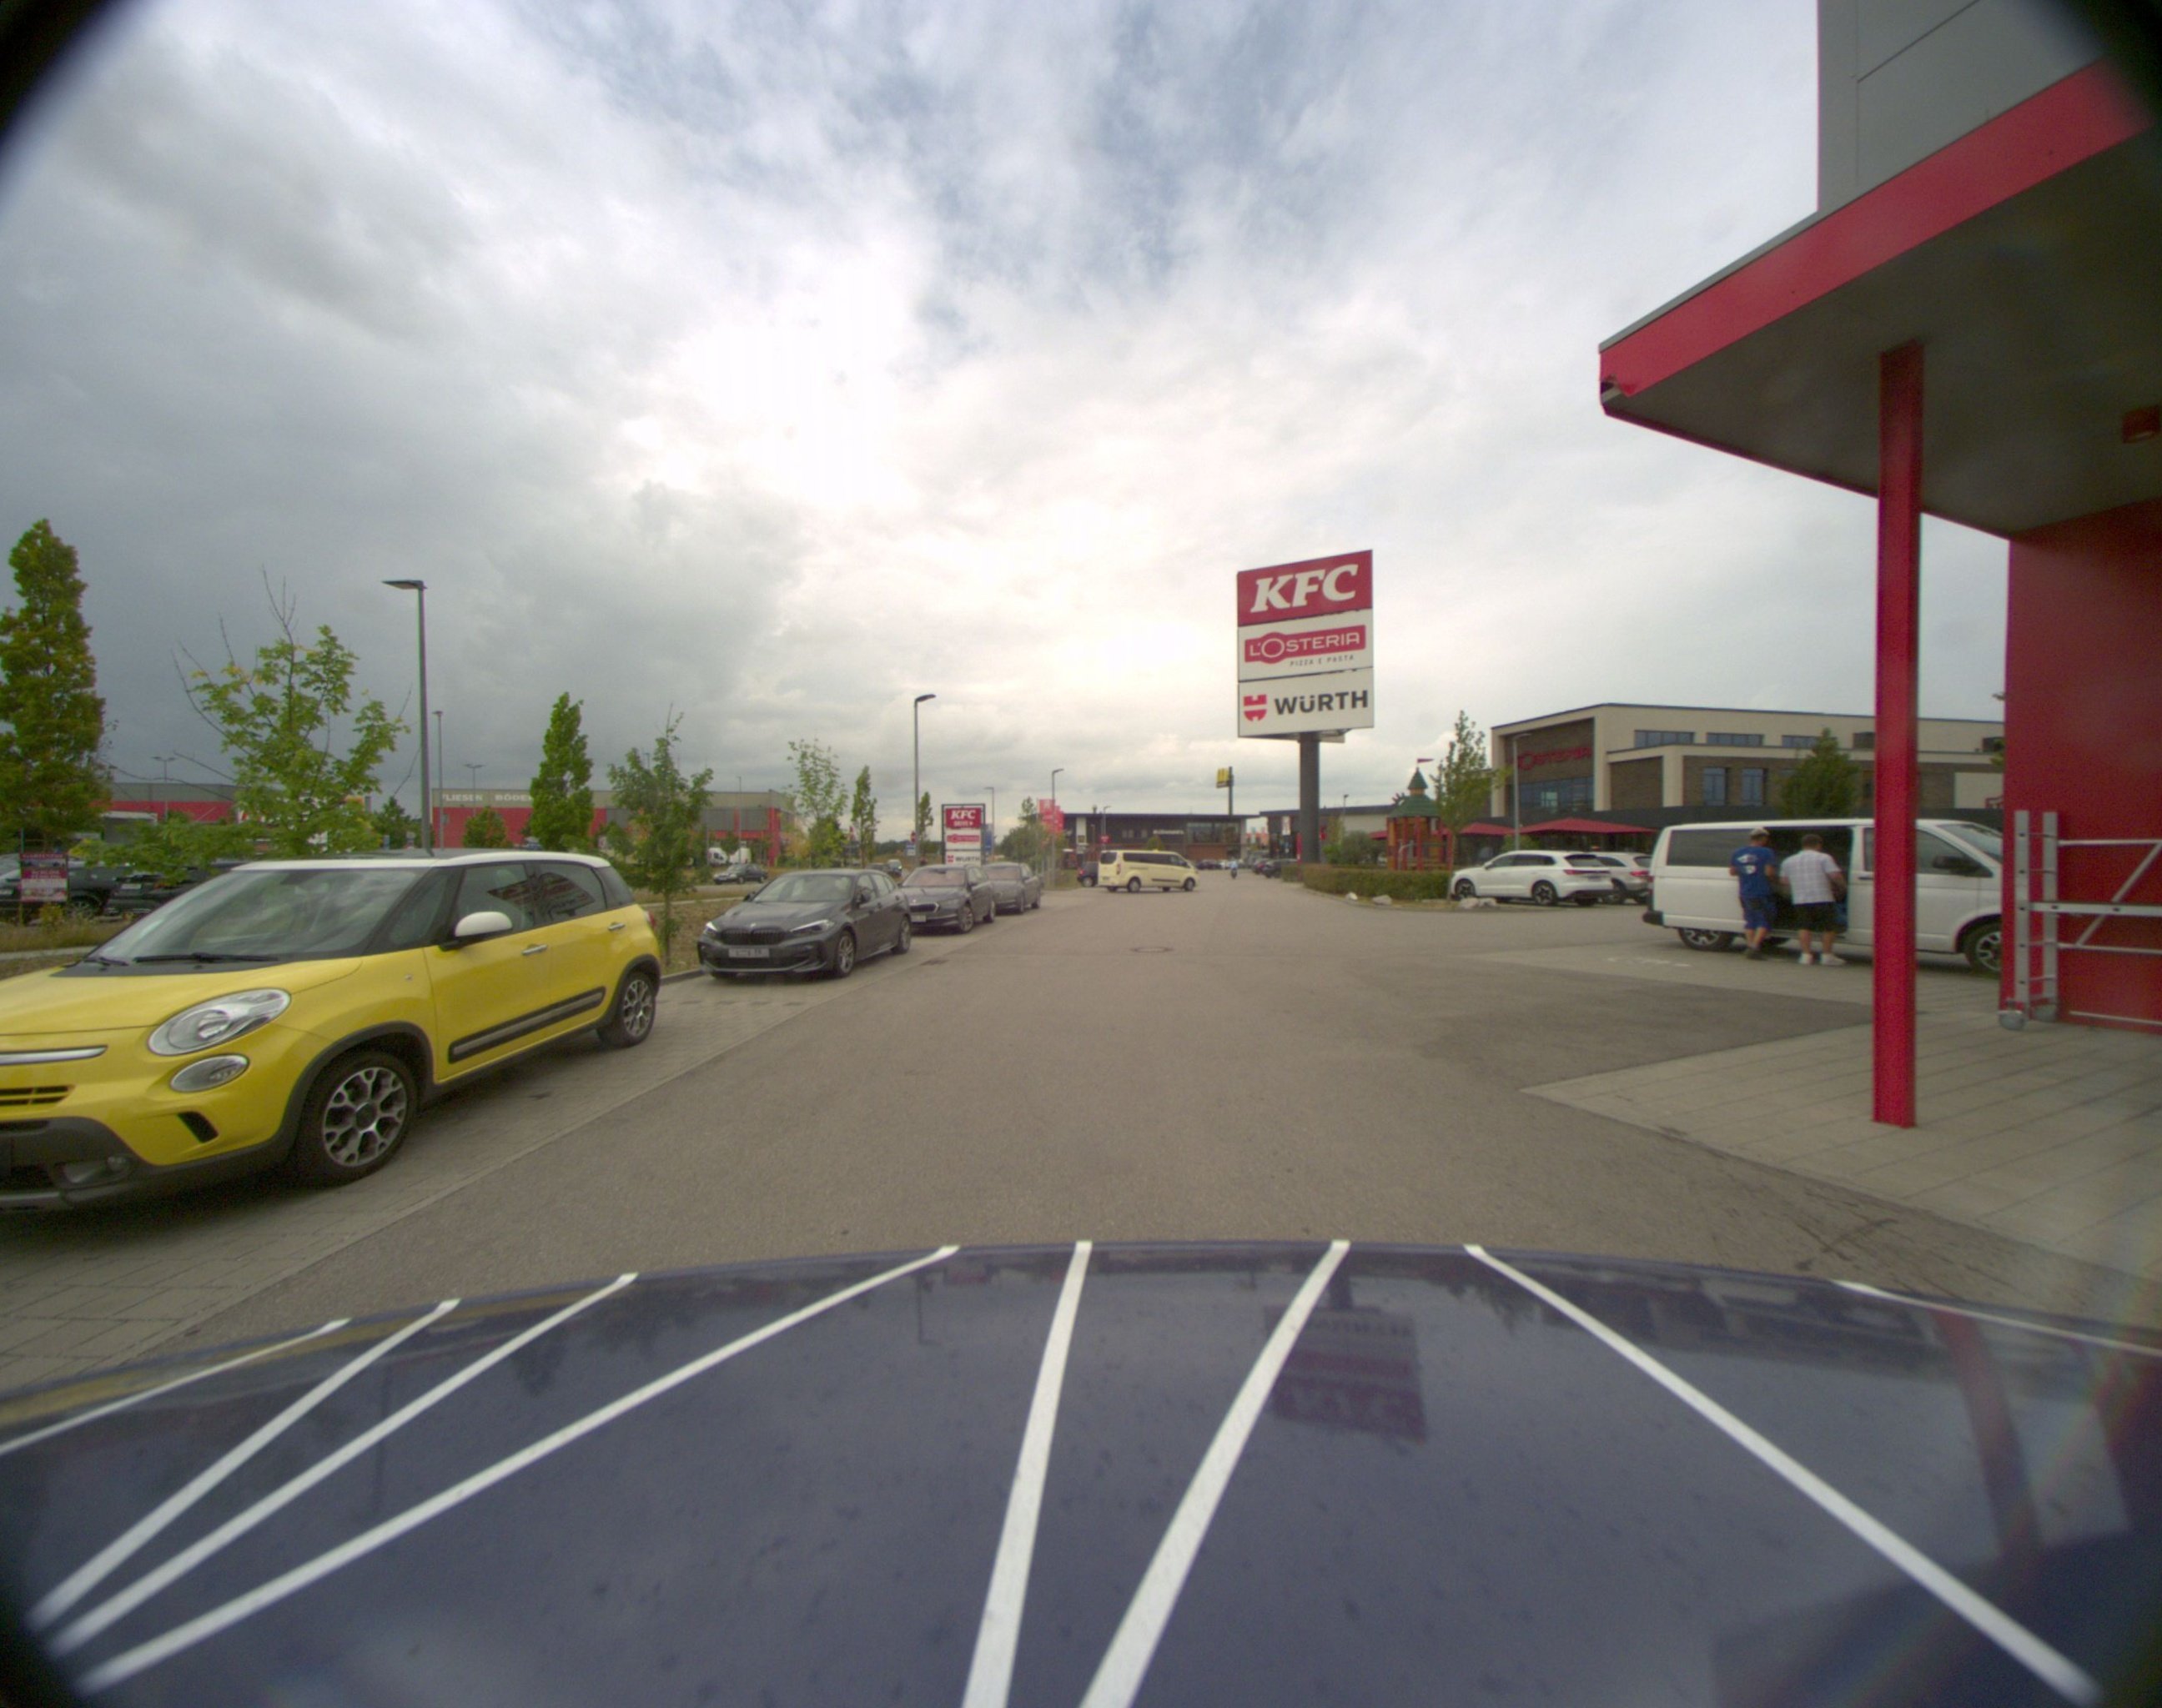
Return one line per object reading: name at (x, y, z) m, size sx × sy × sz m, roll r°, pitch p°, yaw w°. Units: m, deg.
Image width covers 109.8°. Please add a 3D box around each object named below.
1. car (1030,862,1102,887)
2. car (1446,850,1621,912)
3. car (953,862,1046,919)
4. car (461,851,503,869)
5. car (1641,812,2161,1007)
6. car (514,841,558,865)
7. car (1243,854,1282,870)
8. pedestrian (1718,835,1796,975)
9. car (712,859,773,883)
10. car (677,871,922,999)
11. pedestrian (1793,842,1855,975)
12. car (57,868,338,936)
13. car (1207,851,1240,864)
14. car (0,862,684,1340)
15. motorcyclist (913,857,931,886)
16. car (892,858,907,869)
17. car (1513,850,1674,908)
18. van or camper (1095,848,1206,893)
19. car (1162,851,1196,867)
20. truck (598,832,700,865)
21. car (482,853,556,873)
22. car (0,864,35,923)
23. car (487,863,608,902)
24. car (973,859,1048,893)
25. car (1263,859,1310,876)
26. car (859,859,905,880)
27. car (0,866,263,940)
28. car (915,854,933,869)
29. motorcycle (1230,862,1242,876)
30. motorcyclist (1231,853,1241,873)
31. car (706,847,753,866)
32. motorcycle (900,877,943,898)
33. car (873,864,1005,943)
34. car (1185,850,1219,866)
car at (-0.860, 1.219, 45.306) m, size 3.994 × 1.412 × 1.811 m, roll -1°, pitch 0°, yaw 8°
car at (14.079, 0.764, 24.027) m, size 1.760 × 1.738 × 4.734 m, roll -1°, pitch 0°, yaw -20°
car at (-2.331, 1.022, 23.013) m, size 1.750 × 1.482 × 4.490 m, roll -1°, pitch 0°, yaw 8°
car at (-57.443, 0.570, 72.920) m, size 1.764 × 1.644 × 3.831 m, roll 0°, pitch 1°, yaw -14°
car at (10.789, 0.567, 10.336) m, size 1.940 × 2.002 × 4.749 m, roll -1°, pitch 0°, yaw -24°
car at (-52.685, -0.145, 73.534) m, size 2.026 × 2.192 × 4.343 m, roll 0°, pitch 1°, yaw -14°
car at (21.655, 0.984, 90.801) m, size 3.999 × 1.827 × 1.999 m, roll -1°, pitch 0°, yaw -6°
pedestrian at (9.257, 0.675, 10.408) m, size 0.589 × 1.845 × 0.624 m, roll -1°, pitch 1°, yaw -28°
car at (-22.920, 1.148, 51.652) m, size 1.756 × 1.472 × 4.535 m, roll -1°, pitch 0°, yaw 5°
car at (-3.817, 1.019, 11.212) m, size 1.751 × 1.407 × 4.307 m, roll -1°, pitch 0°, yaw 4°
pedestrian at (9.713, 0.697, 9.933) m, size 0.586 × 1.692 × 0.360 m, roll -1°, pitch 1°, yaw -20°
car at (-20.682, 1.056, 18.082) m, size 1.757 × 1.346 × 4.003 m, roll 0°, pitch 0°, yaw 9°
car at (19.640, 0.492, 104.968) m, size 3.988 × 1.652 × 2.004 m, roll -1°, pitch 0°, yaw 38°
car at (-4.473, 0.926, 4.859) m, size 1.752 × 1.673 × 4.297 m, roll -1°, pitch 0°, yaw -3°
motorcyclist at (-7.355, 0.805, 35.195) m, size 0.672 × 1.308 × 0.576 m, roll 0°, pitch 1°, yaw 7°
car at (-27.229, 1.428, 113.988) m, size 2.001 × 1.667 × 3.995 m, roll 0°, pitch 0°, yaw -15°
car at (16.635, 0.748, 24.903) m, size 1.912 × 1.696 × 3.993 m, roll -1°, pitch 0°, yaw -20°
van or camper at (3.420, 0.737, 36.926) m, size 5.243 × 2.049 × 1.855 m, roll -1°, pitch 0°, yaw -30°
car at (13.011, 0.624, 100.620) m, size 3.988 × 2.002 × 2.004 m, roll -1°, pitch 0°, yaw 38°
truck at (-40.894, -0.545, 72.271) m, size 2.673 × 2.928 × 8.198 m, roll 0°, pitch 1°, yaw 27°
car at (-41.441, 0.660, 56.095) m, size 3.996 × 1.433 × 2.000 m, roll -1°, pitch 0°, yaw 2°
car at (-28.405, 1.023, 17.885) m, size 1.756 × 1.472 × 4.058 m, roll -1°, pitch 0°, yaw 7°
car at (-22.125, 1.142, 31.711) m, size 1.820 × 1.486 × 4.003 m, roll 0°, pitch 0°, yaw 10°
car at (-3.167, 0.991, 34.431) m, size 3.120 × 1.438 × 1.508 m, roll 1°, pitch 1°, yaw 9°
car at (17.000, 1.095, 62.857) m, size 3.441 × 1.288 × 1.499 m, roll -1°, pitch 0°, yaw -1°
car at (-14.861, 1.142, 56.945) m, size 1.998 × 1.506 × 4.371 m, roll 0°, pitch 0°, yaw 5°
car at (-23.727, 1.106, 18.889) m, size 1.907 × 1.559 × 4.337 m, roll 0°, pitch 0°, yaw 5°
car at (-20.114, 0.966, 97.405) m, size 1.907 × 1.803 × 3.998 m, roll 0°, pitch 0°, yaw -5°
motorcycle at (12.713, 1.217, 62.441) m, size 0.815 × 1.069 × 2.151 m, roll 0°, pitch 0°, yaw 9°
motorcyclist at (12.721, 0.757, 62.513) m, size 0.753 × 1.629 × 1.039 m, roll -1°, pitch 1°, yaw 9°
car at (-40.076, 0.271, 86.719) m, size 4.440 × 2.110 × 1.998 m, roll -1°, pitch 0°, yaw -12°
motorcycle at (-7.383, 1.550, 35.190) m, size 1.866 × 0.911 × 0.556 m, roll -1°, pitch 0°, yaw 5°
car at (-3.064, 1.020, 17.476) m, size 1.751 × 1.482 × 4.635 m, roll -1°, pitch 0°, yaw 5°
car at (16.302, 0.559, 102.240) m, size 3.988 × 2.002 × 2.004 m, roll -1°, pitch 0°, yaw 38°
